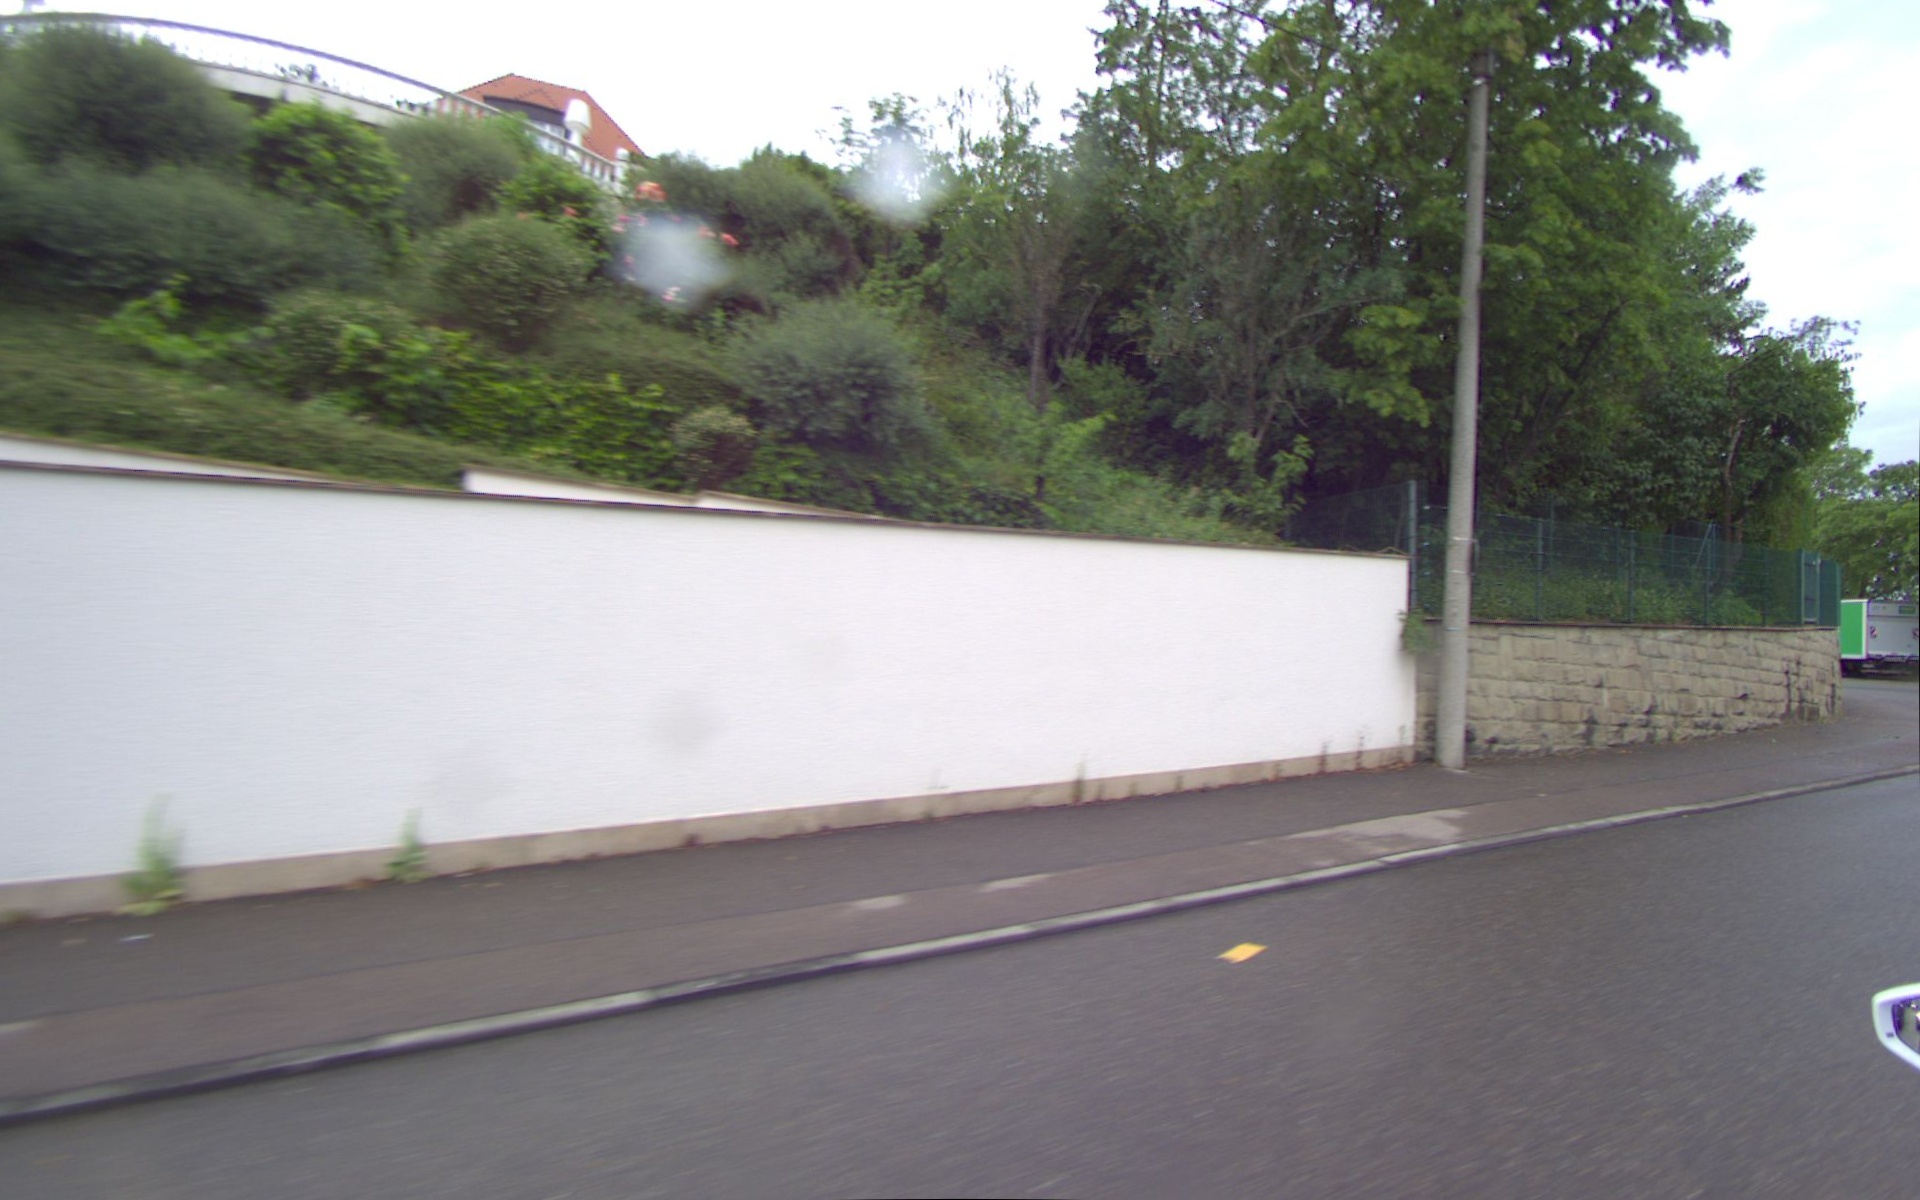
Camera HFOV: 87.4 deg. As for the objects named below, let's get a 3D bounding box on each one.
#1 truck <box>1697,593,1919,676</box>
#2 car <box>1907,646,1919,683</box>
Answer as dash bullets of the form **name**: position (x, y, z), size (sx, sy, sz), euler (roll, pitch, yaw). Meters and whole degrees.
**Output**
- **truck**: position (40.165, 1.561, 48.029), size (2.729, 3.516, 8.928), euler (2, -1, -4)
- **car**: position (40.101, 2.632, 39.739), size (1.704, 1.523, 4.138), euler (1, -1, 6)
